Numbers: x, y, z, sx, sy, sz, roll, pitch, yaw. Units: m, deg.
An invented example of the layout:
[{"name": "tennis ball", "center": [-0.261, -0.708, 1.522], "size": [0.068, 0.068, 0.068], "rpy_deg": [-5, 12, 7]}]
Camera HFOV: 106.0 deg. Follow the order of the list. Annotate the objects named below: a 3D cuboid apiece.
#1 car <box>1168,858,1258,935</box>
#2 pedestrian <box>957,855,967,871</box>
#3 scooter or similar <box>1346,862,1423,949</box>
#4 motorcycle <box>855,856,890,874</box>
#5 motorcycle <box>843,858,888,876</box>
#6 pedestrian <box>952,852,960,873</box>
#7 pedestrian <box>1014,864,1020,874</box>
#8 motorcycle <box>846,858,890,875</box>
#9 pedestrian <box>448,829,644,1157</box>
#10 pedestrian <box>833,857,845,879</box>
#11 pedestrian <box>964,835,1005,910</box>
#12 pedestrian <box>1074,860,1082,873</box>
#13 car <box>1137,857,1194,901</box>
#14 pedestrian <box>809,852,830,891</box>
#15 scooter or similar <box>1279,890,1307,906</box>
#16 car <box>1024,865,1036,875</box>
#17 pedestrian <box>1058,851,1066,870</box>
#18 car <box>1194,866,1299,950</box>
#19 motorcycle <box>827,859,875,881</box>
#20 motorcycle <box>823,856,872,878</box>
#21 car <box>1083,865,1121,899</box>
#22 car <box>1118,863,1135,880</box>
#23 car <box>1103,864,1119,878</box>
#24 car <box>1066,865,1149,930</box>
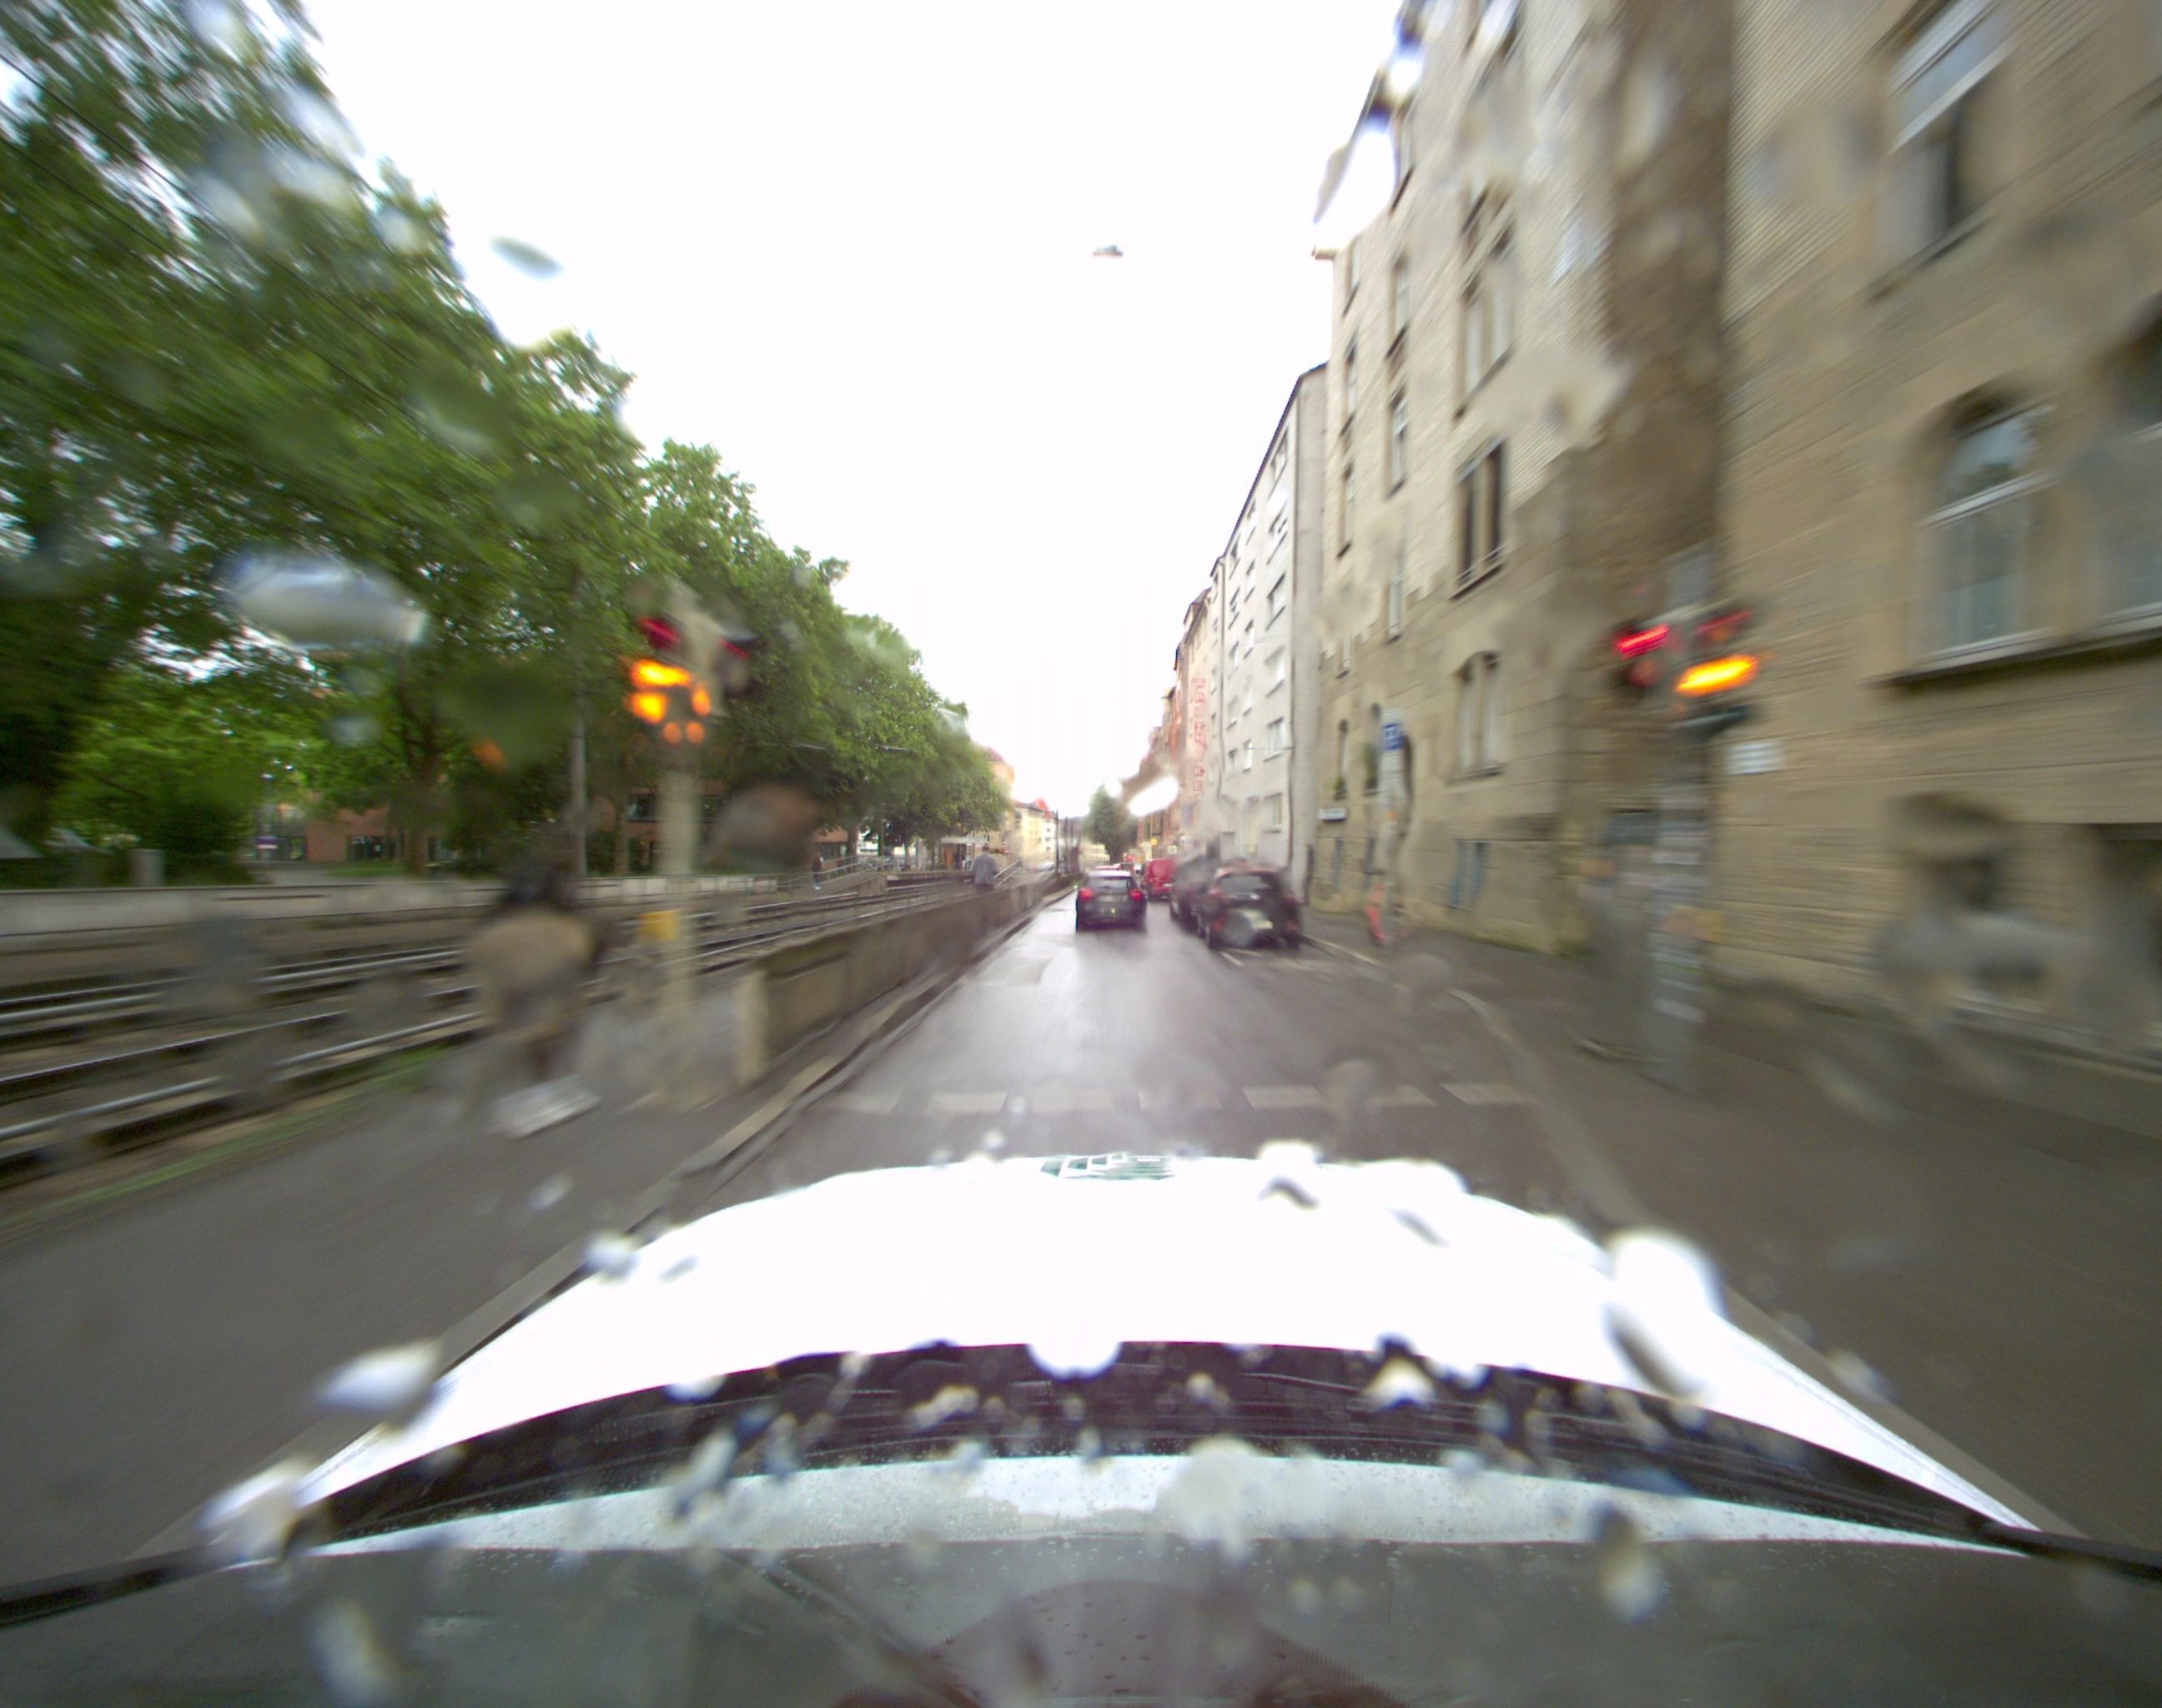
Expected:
[{"name": "car", "center": [3.245, 0.973, 20.775], "size": [1.758, 1.708, 4.502], "rpy_deg": [0, 0, 2]}, {"name": "pedestrian", "center": [-10.560, 0.775, 72.507], "size": [0.775, 1.362, 0.564], "rpy_deg": [1, 0, -1]}, {"name": "scooter or similar", "center": [4.930, 0.820, 13.323], "size": [0.366, 1.315, 1.562], "rpy_deg": [-1, -2, -11]}, {"name": "motorcycle", "center": [-19.881, 1.019, 77.802], "size": [3.048, 1.627, 1.006], "rpy_deg": [1, -1, -1]}, {"name": "motorcycle", "center": [-19.726, 1.160, 74.652], "size": [3.852, 1.605, 1.006], "rpy_deg": [1, -1, -1]}, {"name": "pedestrian", "center": [-10.603, 0.717, 69.068], "size": [0.560, 1.715, 0.705], "rpy_deg": [1, 0, -1]}, {"name": "pedestrian", "center": [-10.529, 2.454, 134.026], "size": [0.758, 1.750, 0.645], "rpy_deg": [0, 0, 2]}, {"name": "motorcycle", "center": [-20.051, 1.166, 76.659], "size": [3.852, 1.488, 1.006], "rpy_deg": [1, -1, -1]}, {"name": "pedestrian", "center": [-3.045, 0.721, 4.668], "size": [0.645, 1.704, 0.665], "rpy_deg": [1, 0, 24]}, {"name": "pedestrian", "center": [-22.190, 1.250, 74.729], "size": [0.730, 2.014, 0.980], "rpy_deg": [1, -1, 0]}, {"name": "pedestrian", "center": [-2.381, 0.457, 20.149], "size": [0.856, 1.799, 0.787], "rpy_deg": [1, 0, 1]}, {"name": "pedestrian", "center": [-0.453, 1.776, 116.092], "size": [0.745, 1.724, 0.732], "rpy_deg": [1, -1, -42]}, {"name": "car", "center": [3.710, 1.075, 36.587], "size": [1.969, 1.838, 5.244], "rpy_deg": [0, -1, 0]}, {"name": "pedestrian", "center": [-11.356, 0.764, 35.398], "size": [0.655, 1.663, 0.688], "rpy_deg": [1, 2, 1]}, {"name": "scooter or similar", "center": [7.065, 1.459, 27.106], "size": [0.850, 0.506, 0.259], "rpy_deg": [-1, -1, 32]}, {"name": "car", "center": [-10.118, 3.126, 161.794], "size": [1.986, 1.860, 4.001], "rpy_deg": [-1, 0, 2]}, {"name": "pedestrian", "center": [-1.592, 0.545, 67.573], "size": [0.492, 1.605, 0.640], "rpy_deg": [0, -1, 18]}, {"name": "car", "center": [3.154, 0.968, 16.098], "size": [1.653, 1.452, 3.614], "rpy_deg": [0, -1, 5]}, {"name": "motorcycle", "center": [-20.149, 1.378, 71.287], "size": [3.852, 1.816, 1.006], "rpy_deg": [1, -1, -1]}, {"name": "motorcycle", "center": [-20.000, 1.118, 69.778], "size": [3.852, 1.774, 1.006], "rpy_deg": [1, -1, -1]}, {"name": "car", "center": [0.952, 1.258, 38.167], "size": [1.675, 1.489, 3.612], "rpy_deg": [0, 0, 0]}, {"name": "car", "center": [5.406, 2.039, 96.561], "size": [1.913, 1.936, 4.688], "rpy_deg": [0, -1, 3]}, {"name": "car", "center": [4.141, 2.248, 111.497], "size": [1.927, 1.831, 4.278], "rpy_deg": [1, 0, -1]}, {"name": "car", "center": [0.681, 1.029, 20.681], "size": [1.887, 1.390, 4.002], "rpy_deg": [0, 1, 2]}]
